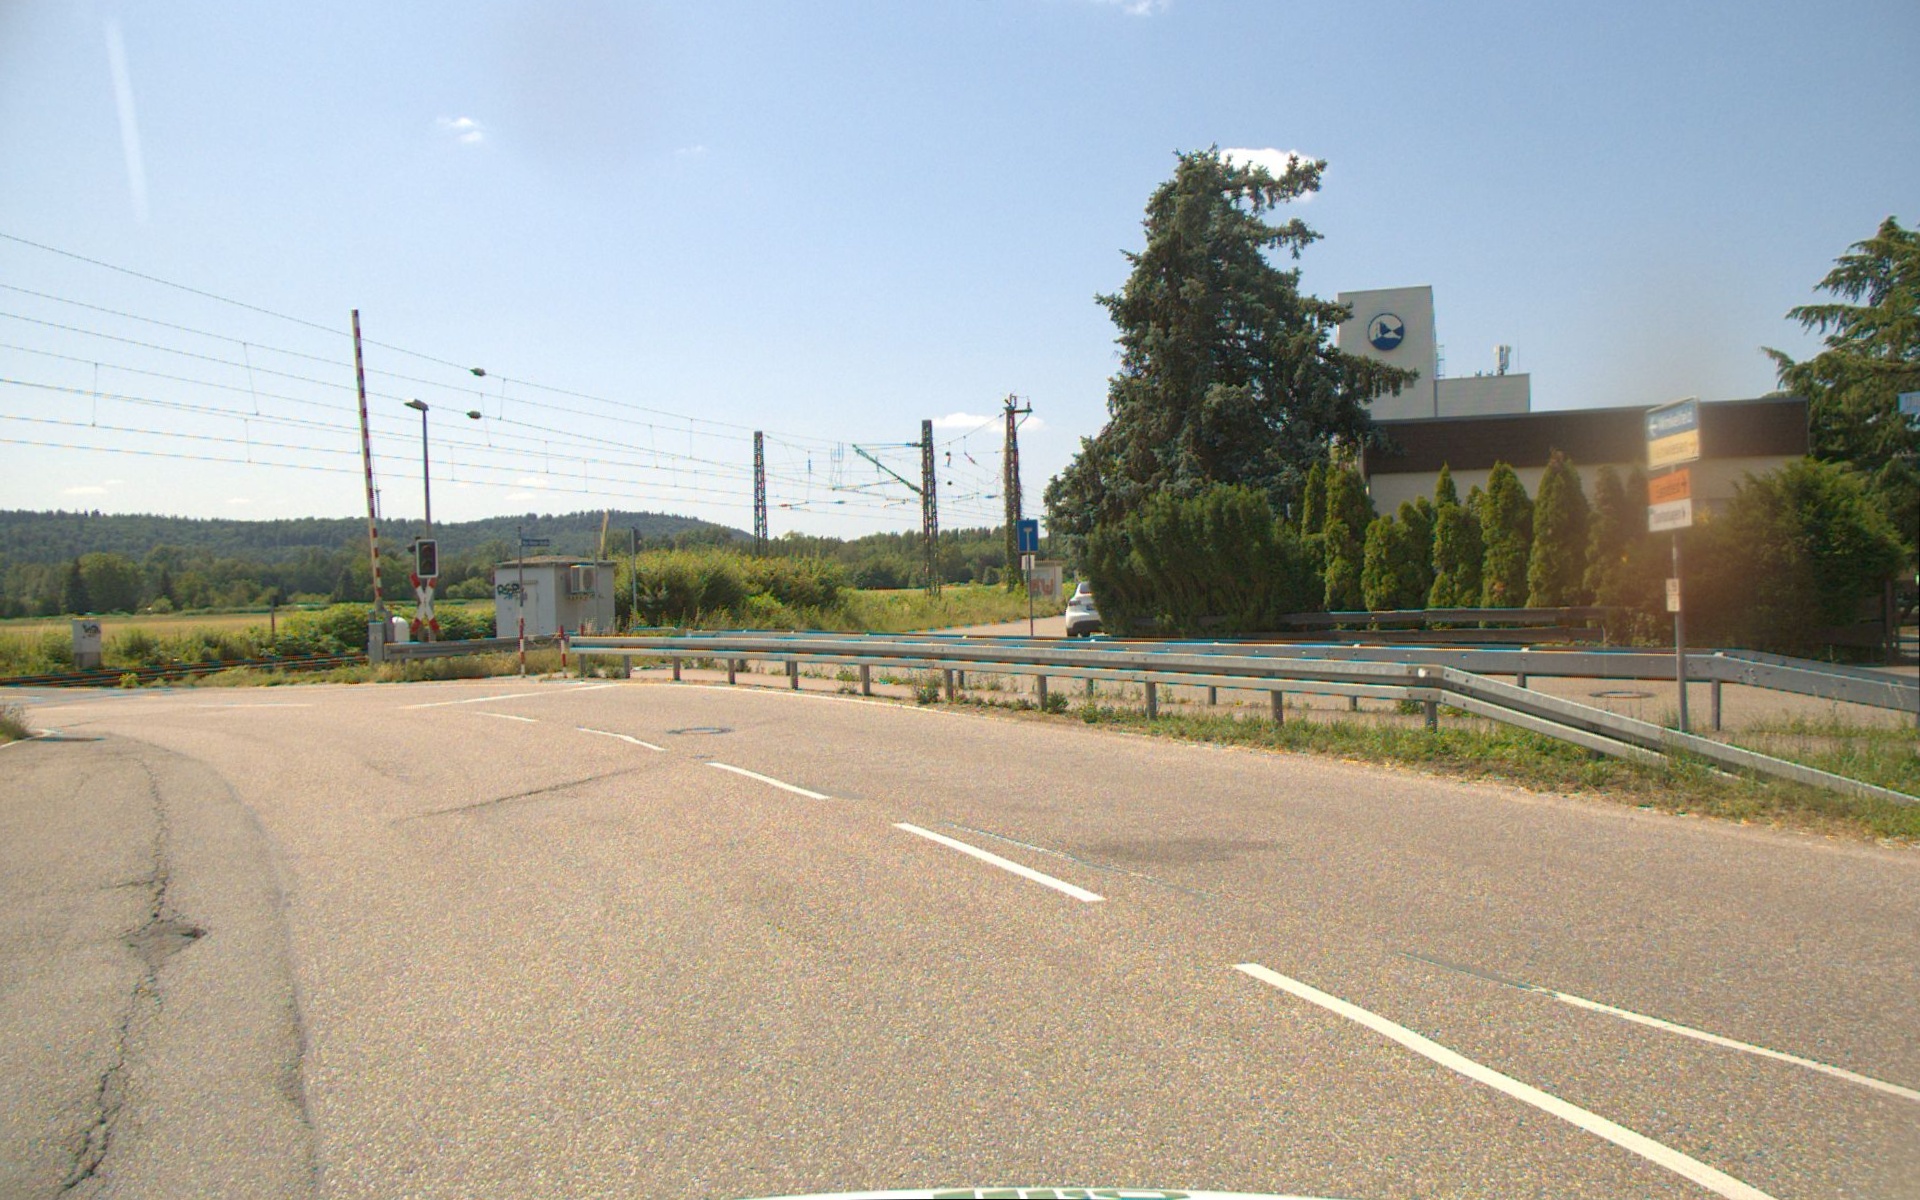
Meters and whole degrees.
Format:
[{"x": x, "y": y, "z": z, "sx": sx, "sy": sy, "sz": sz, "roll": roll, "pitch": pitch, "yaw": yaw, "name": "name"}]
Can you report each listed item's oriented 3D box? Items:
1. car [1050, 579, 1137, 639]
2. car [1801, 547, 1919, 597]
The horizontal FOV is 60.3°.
[{"x": 3.912, "y": 0.235, "z": 47.772, "sx": 1.951, "sy": 1.536, "sz": 4.459, "roll": -2, "pitch": 1, "yaw": 11, "name": "car"}, {"x": 31.618, "y": -0.997, "z": 58.027, "sx": 3.449, "sy": 1.613, "sz": 1.567, "roll": -2, "pitch": 1, "yaw": 14, "name": "car"}]
